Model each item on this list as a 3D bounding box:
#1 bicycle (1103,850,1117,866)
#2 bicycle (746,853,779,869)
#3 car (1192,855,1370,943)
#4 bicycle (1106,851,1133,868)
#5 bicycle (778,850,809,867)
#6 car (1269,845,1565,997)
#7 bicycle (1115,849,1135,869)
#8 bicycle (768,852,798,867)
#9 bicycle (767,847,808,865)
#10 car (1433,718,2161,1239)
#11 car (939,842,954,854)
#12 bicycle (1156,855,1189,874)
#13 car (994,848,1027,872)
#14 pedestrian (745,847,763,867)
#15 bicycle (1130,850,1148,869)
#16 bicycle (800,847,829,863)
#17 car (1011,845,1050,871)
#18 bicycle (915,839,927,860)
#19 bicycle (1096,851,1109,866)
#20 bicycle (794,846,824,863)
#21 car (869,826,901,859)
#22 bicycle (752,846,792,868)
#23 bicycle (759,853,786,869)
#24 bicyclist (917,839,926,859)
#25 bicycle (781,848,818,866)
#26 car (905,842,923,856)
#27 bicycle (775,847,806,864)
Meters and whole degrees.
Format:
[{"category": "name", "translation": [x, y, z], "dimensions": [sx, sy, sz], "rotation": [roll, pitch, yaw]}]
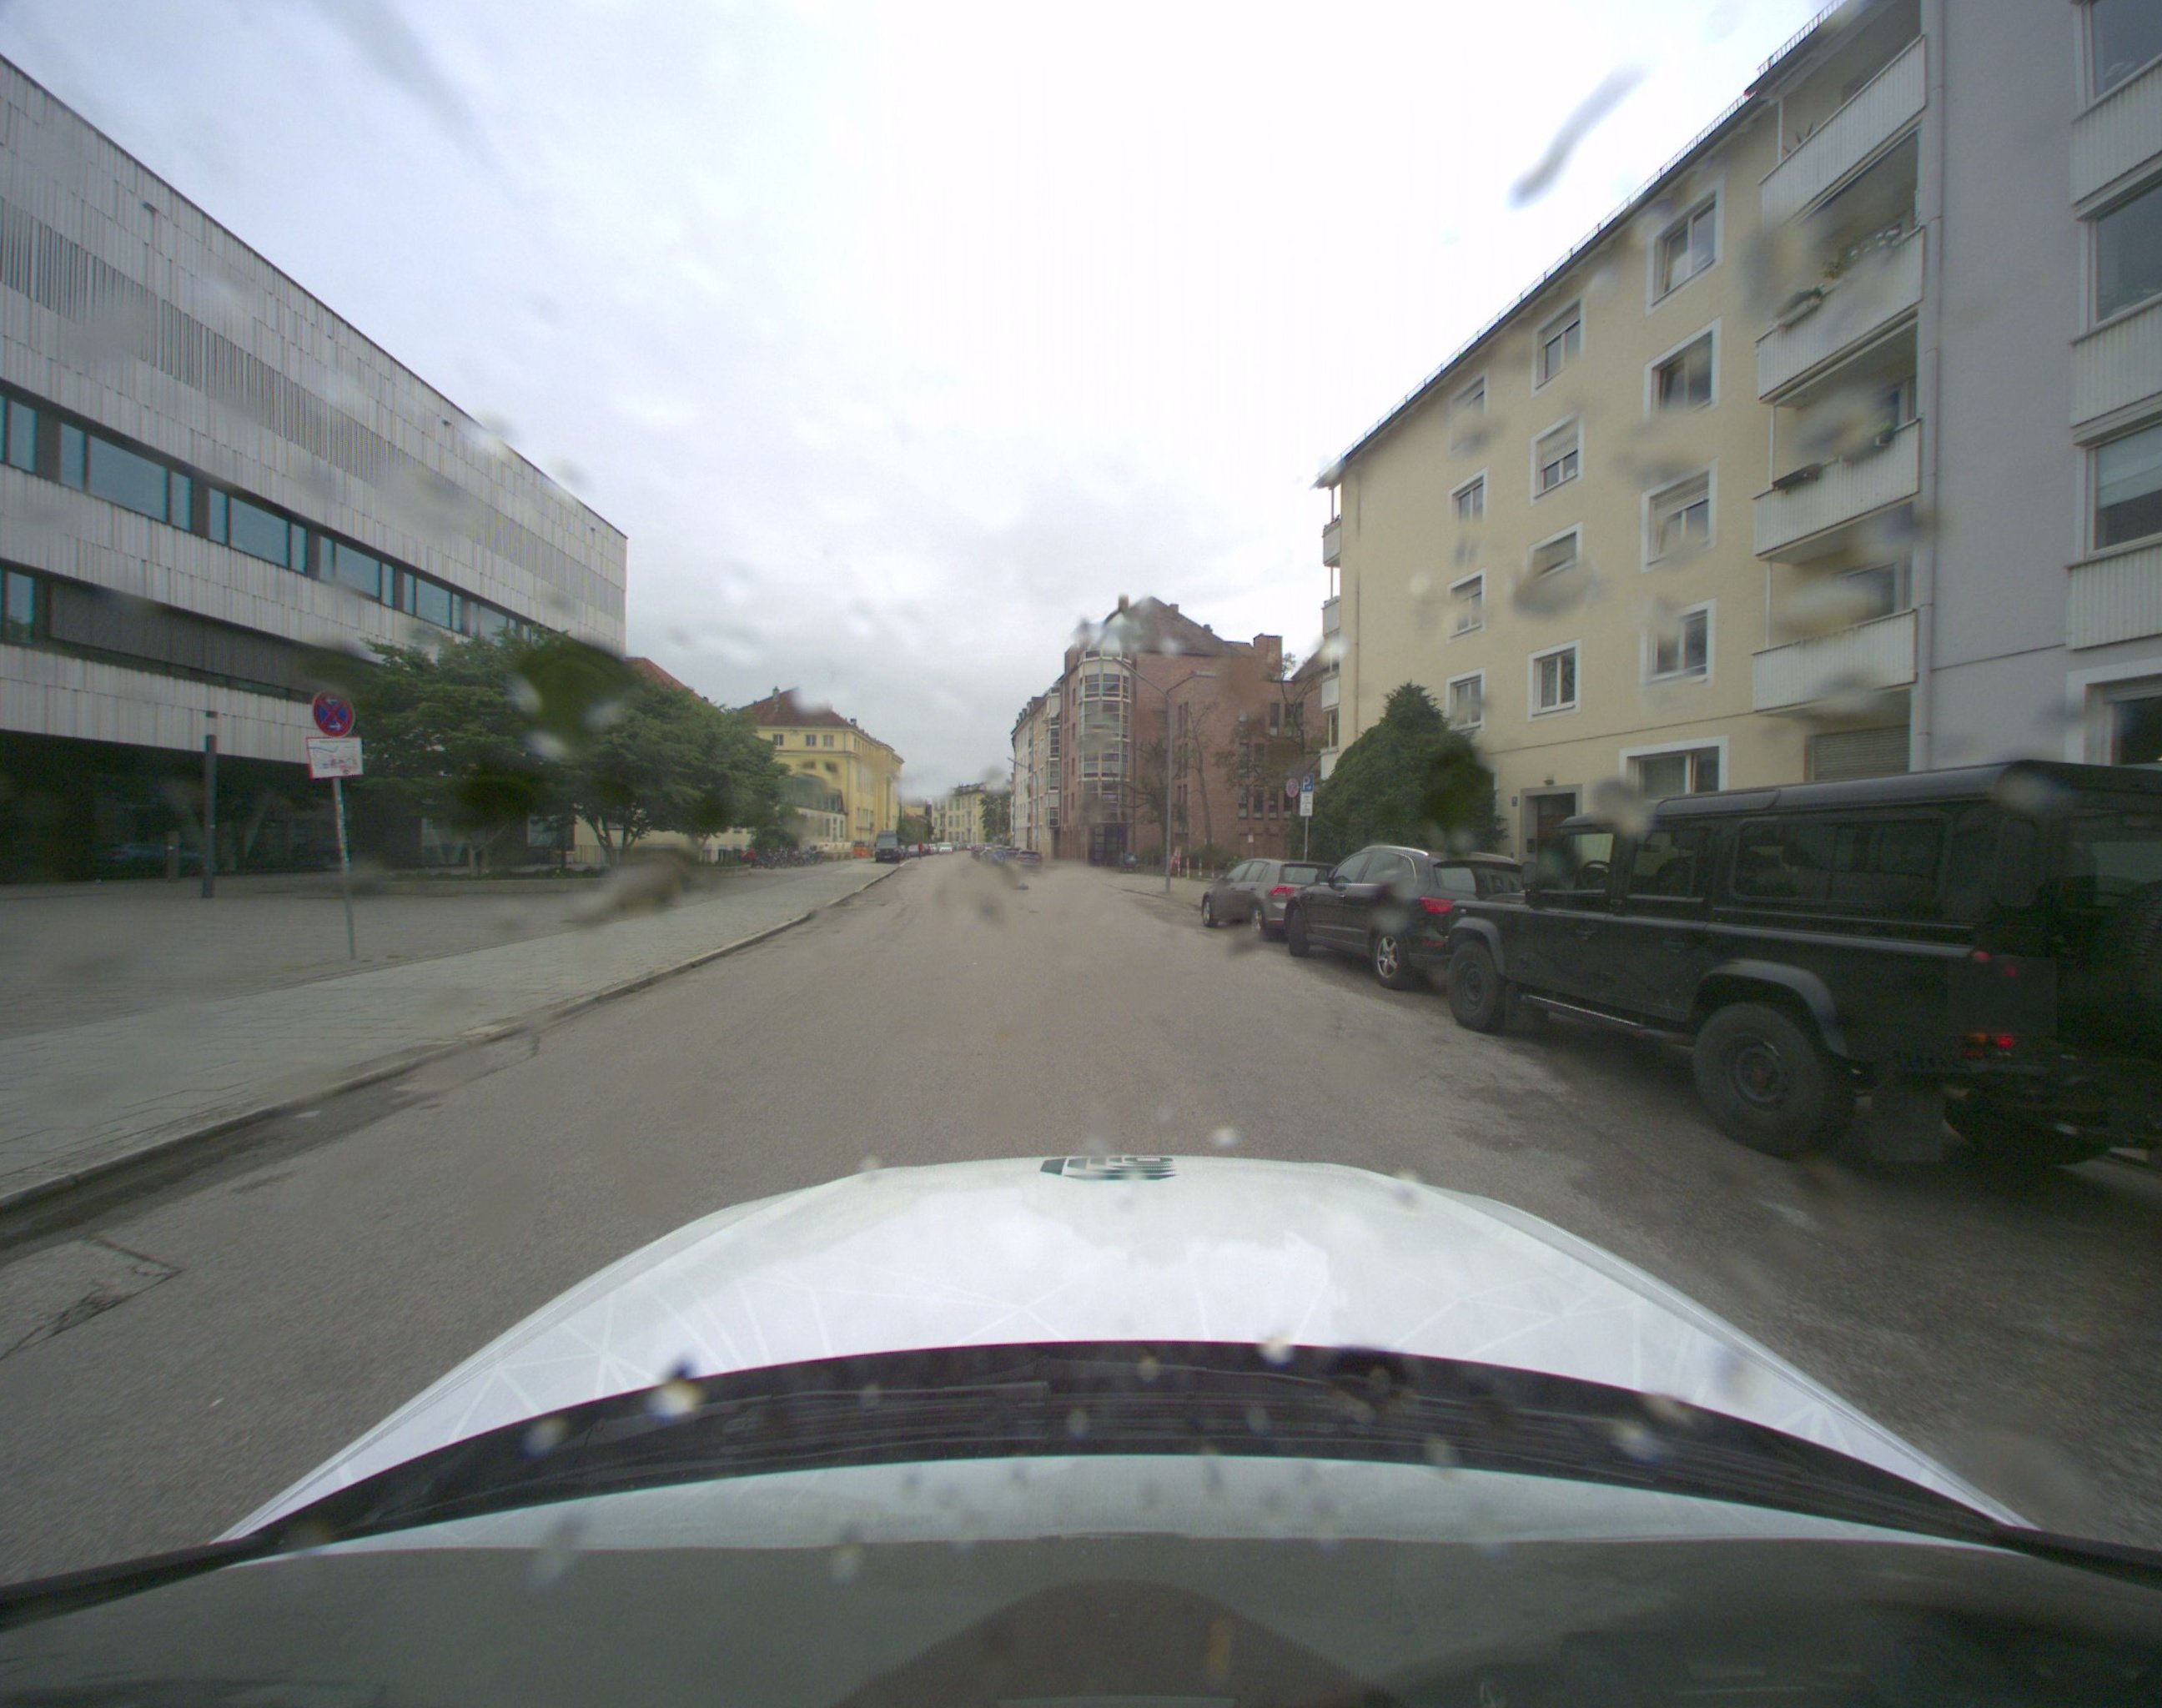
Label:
[{"category": "bicycle", "translation": [2.123, 0.286, 60.106], "dimensions": [0.486, 1.059, 1.987], "rotation": [2, 1, -13]}, {"category": "bicycle", "translation": [-18.649, 0.408, 47.642], "dimensions": [1.716, 0.862, 0.438], "rotation": [2, 1, -5]}, {"category": "car", "translation": [3.593, 0.747, 15.427], "dimensions": [1.754, 1.396, 4.030], "rotation": [2, 0, -10]}, {"category": "bicycle", "translation": [2.760, 0.415, 58.566], "dimensions": [1.845, 1.147, 0.487], "rotation": [2, 1, -5]}, {"category": "bicycle", "translation": [-18.884, 0.298, 53.481], "dimensions": [1.785, 1.033, 0.507], "rotation": [2, 1, -1]}, {"category": "car", "translation": [4.092, 0.696, 10.856], "dimensions": [1.656, 1.565, 4.505], "rotation": [2, 0, -6]}, {"category": "bicycle", "translation": [2.838, 0.298, 52.710], "dimensions": [0.535, 1.248, 2.400], "rotation": [2, -1, -16]}, {"category": "bicycle", "translation": [-19.025, 0.344, 51.990], "dimensions": [1.669, 0.916, 0.595], "rotation": [2, 1, -1]}, {"category": "bicycle", "translation": [-19.546, 0.120, 54.266], "dimensions": [2.546, 1.206, 0.424], "rotation": [1, 1, -1]}, {"category": "car", "translation": [4.411, 0.476, 5.566], "dimensions": [1.744, 2.081, 4.510], "rotation": [2, 1, -4]}, {"category": "car", "translation": [-18.617, -0.797, 112.577], "dimensions": [2.025, 1.621, 4.490], "rotation": [-1, 0, -9]}, {"category": "bicycle", "translation": [5.009, 0.565, 44.747], "dimensions": [1.701, 0.965, 0.544], "rotation": [2, 1, -11]}, {"category": "car", "translation": [-5.434, 0.440, 62.396], "dimensions": [1.833, 1.601, 4.246], "rotation": [2, 1, -14]}, {"category": "pedestrian", "translation": [-19.409, 0.180, 48.344], "dimensions": [0.717, 1.162, 1.038], "rotation": [2, 1, -6]}, {"category": "bicycle", "translation": [3.655, 0.336, 51.227], "dimensions": [0.416, 1.173, 1.370], "rotation": [3, 1, 34]}, {"category": "bicycle", "translation": [-19.835, 0.053, 60.668], "dimensions": [1.899, 1.092, 0.677], "rotation": [2, 1, -1]}, {"category": "car", "translation": [-3.260, 0.213, 51.987], "dimensions": [1.925, 1.512, 4.376], "rotation": [2, 0, -10]}, {"category": "bicycle", "translation": [-16.513, -0.469, 84.103], "dimensions": [0.747, 2.013, 2.843], "rotation": [-1, 2, -5]}, {"category": "bicycle", "translation": [1.585, 0.336, 59.951], "dimensions": [0.486, 1.060, 1.987], "rotation": [2, 0, -13]}, {"category": "bicycle", "translation": [-19.718, 0.062, 59.035], "dimensions": [1.950, 1.131, 0.573], "rotation": [2, 1, -1]}, {"category": "car", "translation": [-16.736, -0.958, 69.706], "dimensions": [2.423, 2.715, 5.929], "rotation": [-1, 0, -12]}, {"category": "bicycle", "translation": [-19.117, 0.175, 50.402], "dimensions": [2.098, 1.227, 0.787], "rotation": [2, 1, -1]}, {"category": "bicycle", "translation": [-18.456, 0.410, 48.744], "dimensions": [1.369, 0.862, 0.438], "rotation": [2, 1, -5]}, {"category": "bicyclist", "translation": [-16.515, -0.511, 84.188], "dimensions": [0.765, 2.013, 0.766], "rotation": [-3, 2, -5]}, {"category": "bicycle", "translation": [-19.484, 0.202, 56.370], "dimensions": [2.303, 1.135, 0.581], "rotation": [2, 1, -1]}, {"category": "car", "translation": [-19.780, -0.616, 96.494], "dimensions": [1.771, 1.550, 3.768], "rotation": [2, 1, -8]}, {"category": "bicycle", "translation": [-19.536, 0.094, 54.846], "dimensions": [1.861, 1.029, 0.539], "rotation": [2, 1, -1]}]
